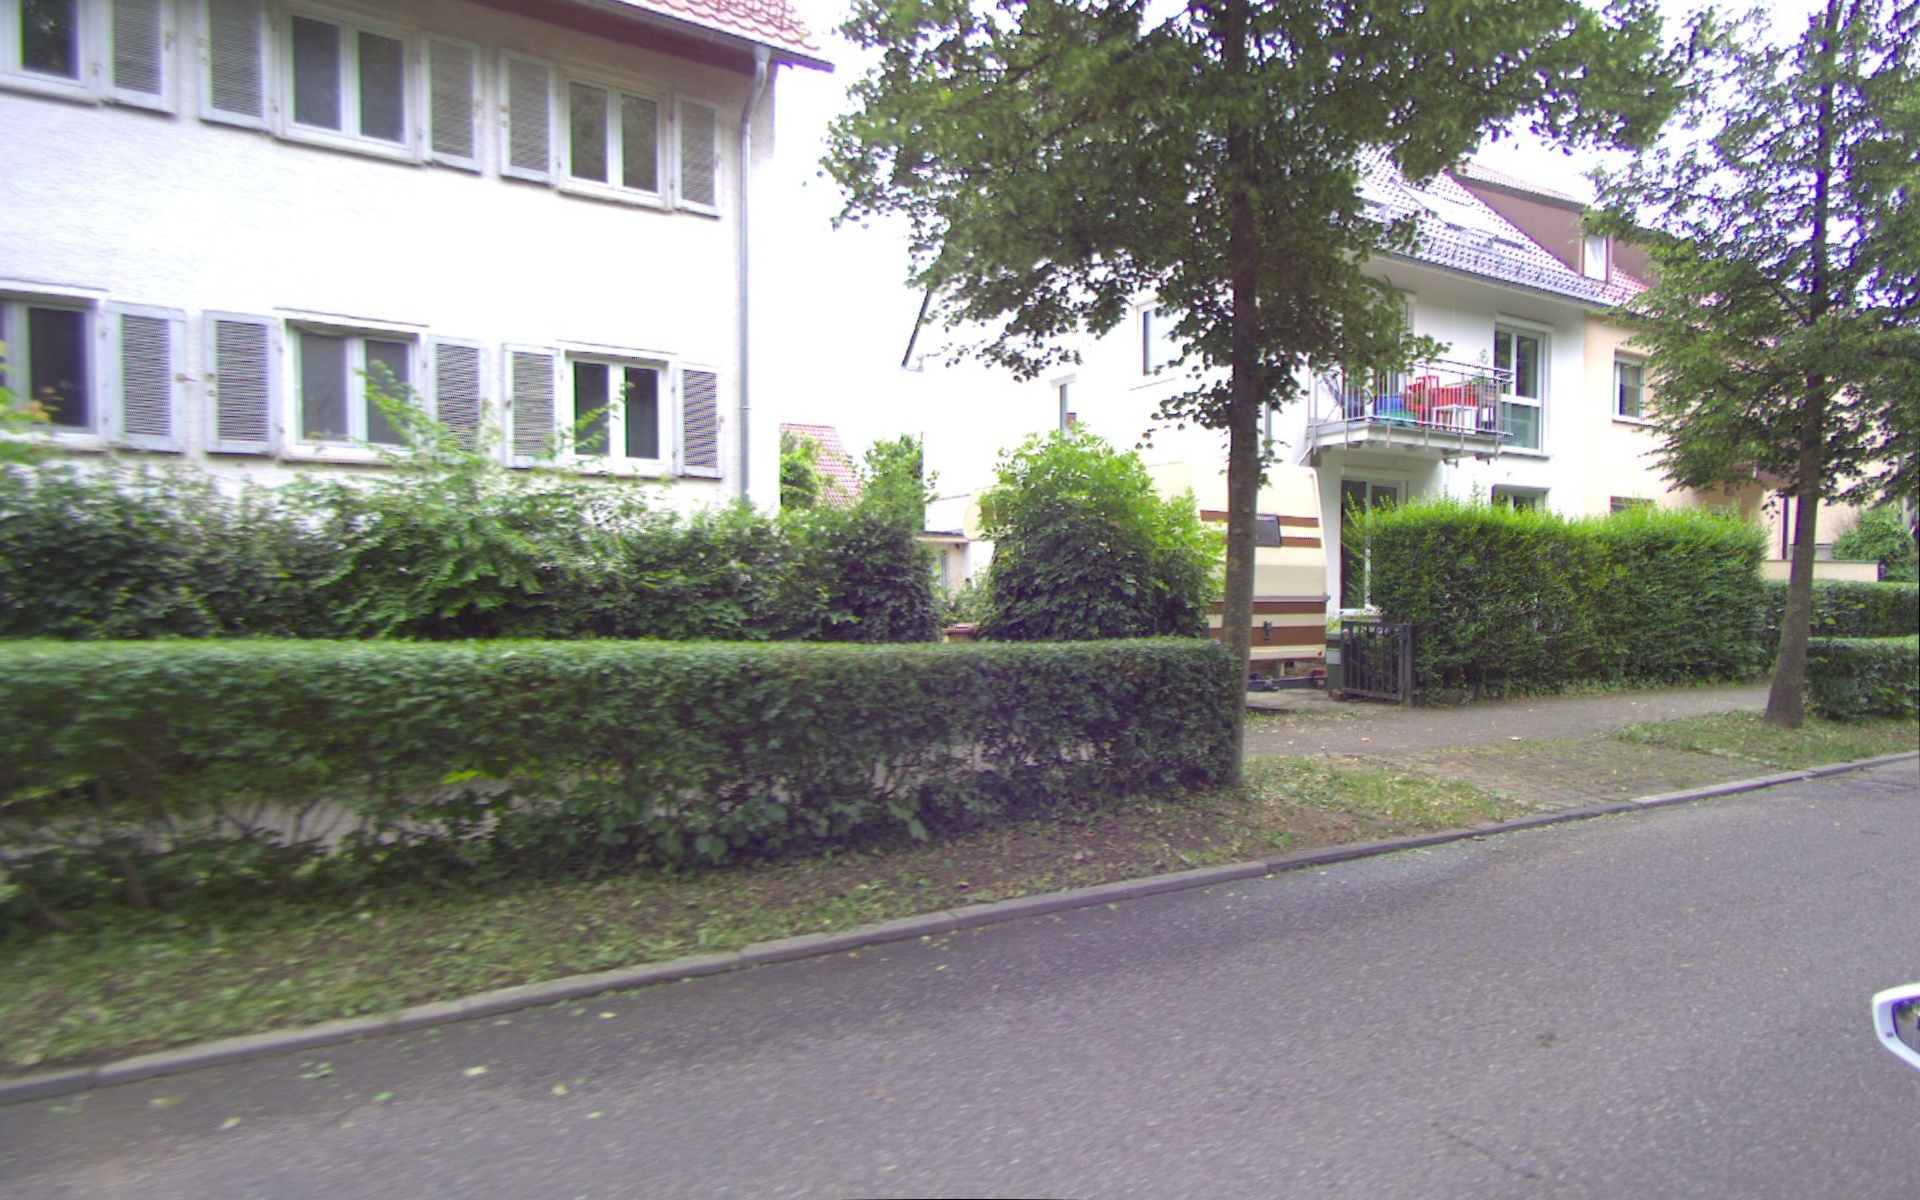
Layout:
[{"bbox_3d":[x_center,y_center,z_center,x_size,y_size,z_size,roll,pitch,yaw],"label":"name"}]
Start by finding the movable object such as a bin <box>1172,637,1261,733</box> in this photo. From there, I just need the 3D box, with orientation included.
[{"bbox_3d":[2.658,0.861,10.423,0.684,0.939,0.578,0,0,-28],"label":"movable object such as a bin"}]

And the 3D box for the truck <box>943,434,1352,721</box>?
[{"bbox_3d":[2.276,-0.310,14.238,2.489,3.173,5.766,0,1,-30],"label":"truck"}]
